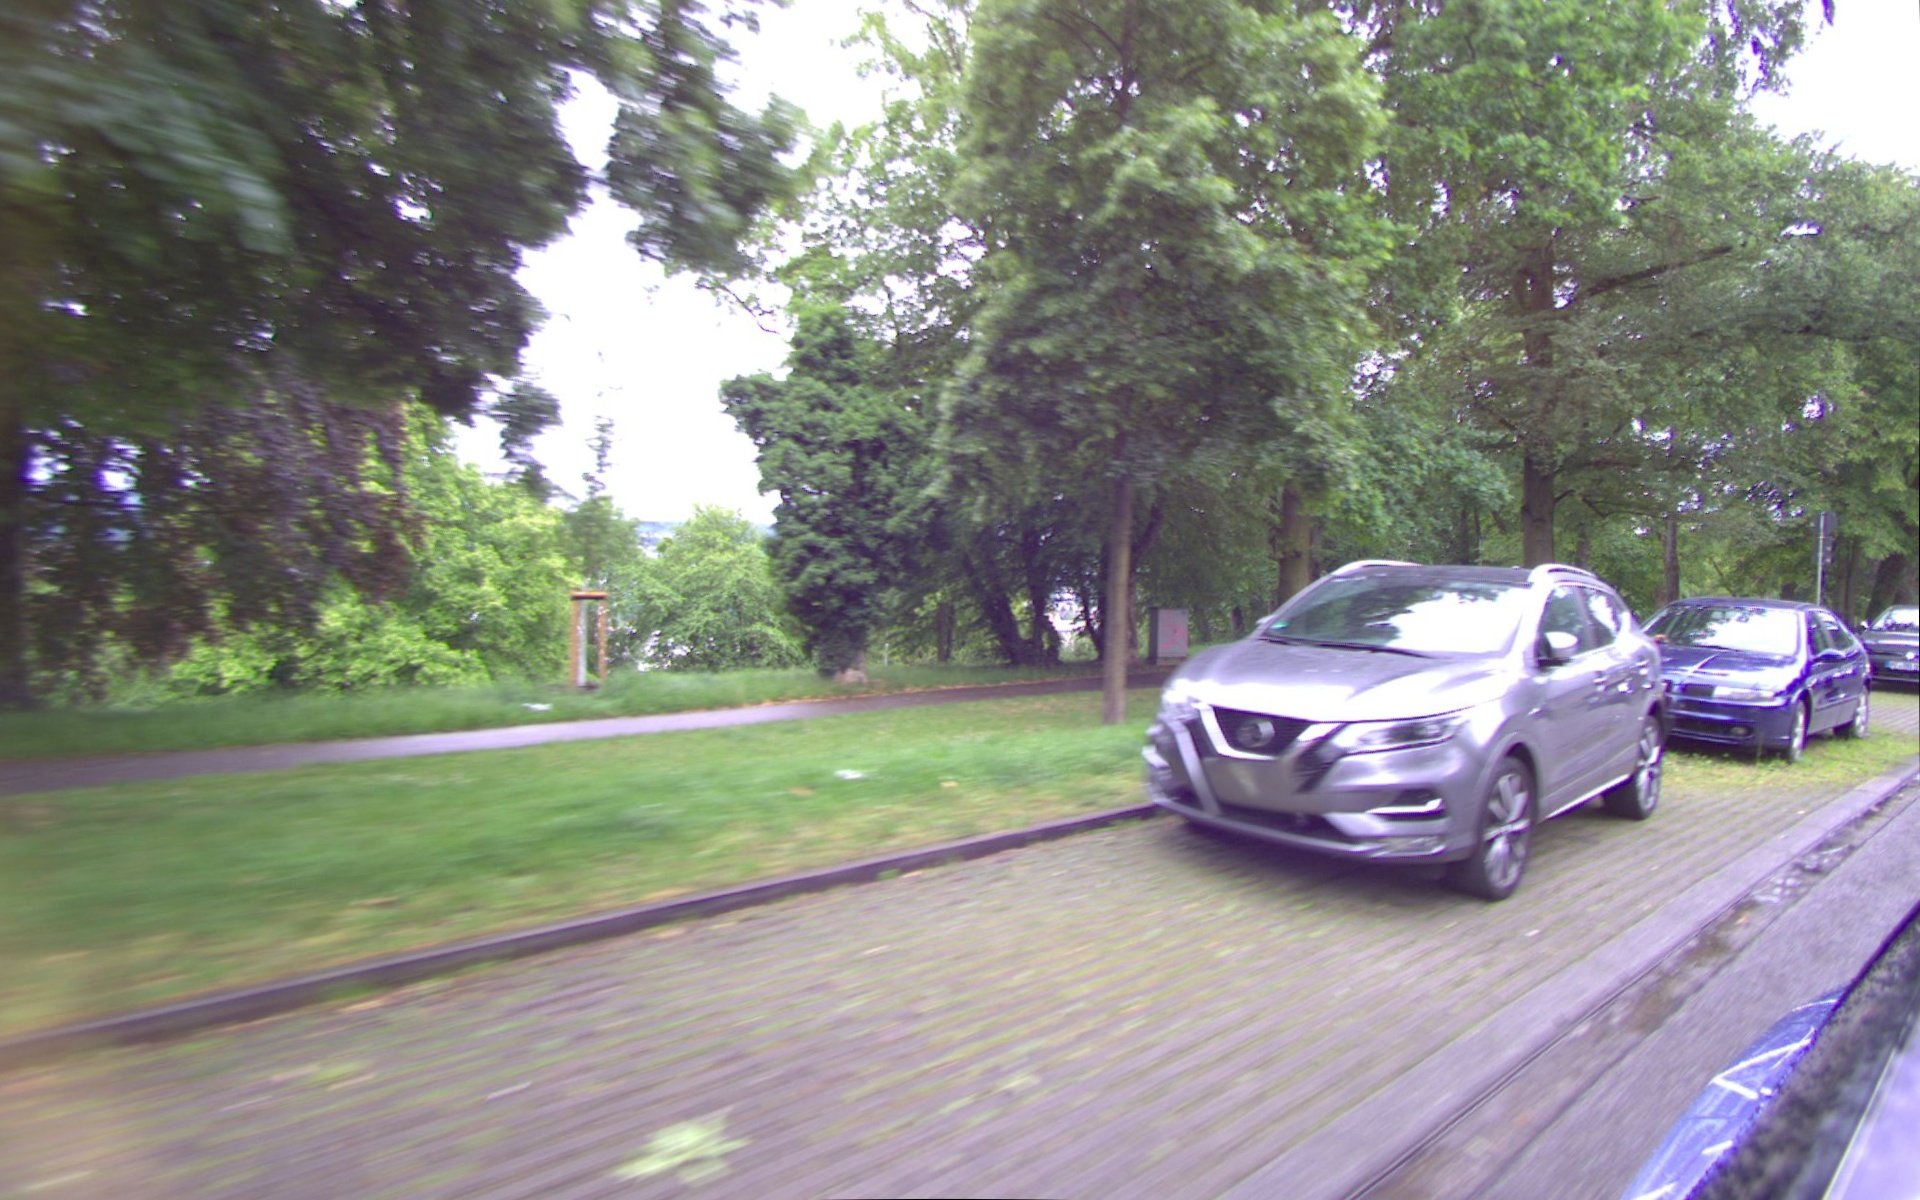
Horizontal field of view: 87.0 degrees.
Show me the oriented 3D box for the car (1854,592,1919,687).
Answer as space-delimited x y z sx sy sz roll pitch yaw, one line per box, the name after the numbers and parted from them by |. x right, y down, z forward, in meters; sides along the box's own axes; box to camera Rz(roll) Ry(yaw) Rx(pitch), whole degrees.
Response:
16.975 0.679 17.357 4.140 1.479 1.706 1 3 -39 | car

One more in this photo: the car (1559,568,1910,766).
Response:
7.863 0.559 10.170 3.926 1.469 1.750 1 6 -38 | car

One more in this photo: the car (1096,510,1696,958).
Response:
2.875 0.557 6.104 4.191 1.740 1.783 3 2 -45 | car
